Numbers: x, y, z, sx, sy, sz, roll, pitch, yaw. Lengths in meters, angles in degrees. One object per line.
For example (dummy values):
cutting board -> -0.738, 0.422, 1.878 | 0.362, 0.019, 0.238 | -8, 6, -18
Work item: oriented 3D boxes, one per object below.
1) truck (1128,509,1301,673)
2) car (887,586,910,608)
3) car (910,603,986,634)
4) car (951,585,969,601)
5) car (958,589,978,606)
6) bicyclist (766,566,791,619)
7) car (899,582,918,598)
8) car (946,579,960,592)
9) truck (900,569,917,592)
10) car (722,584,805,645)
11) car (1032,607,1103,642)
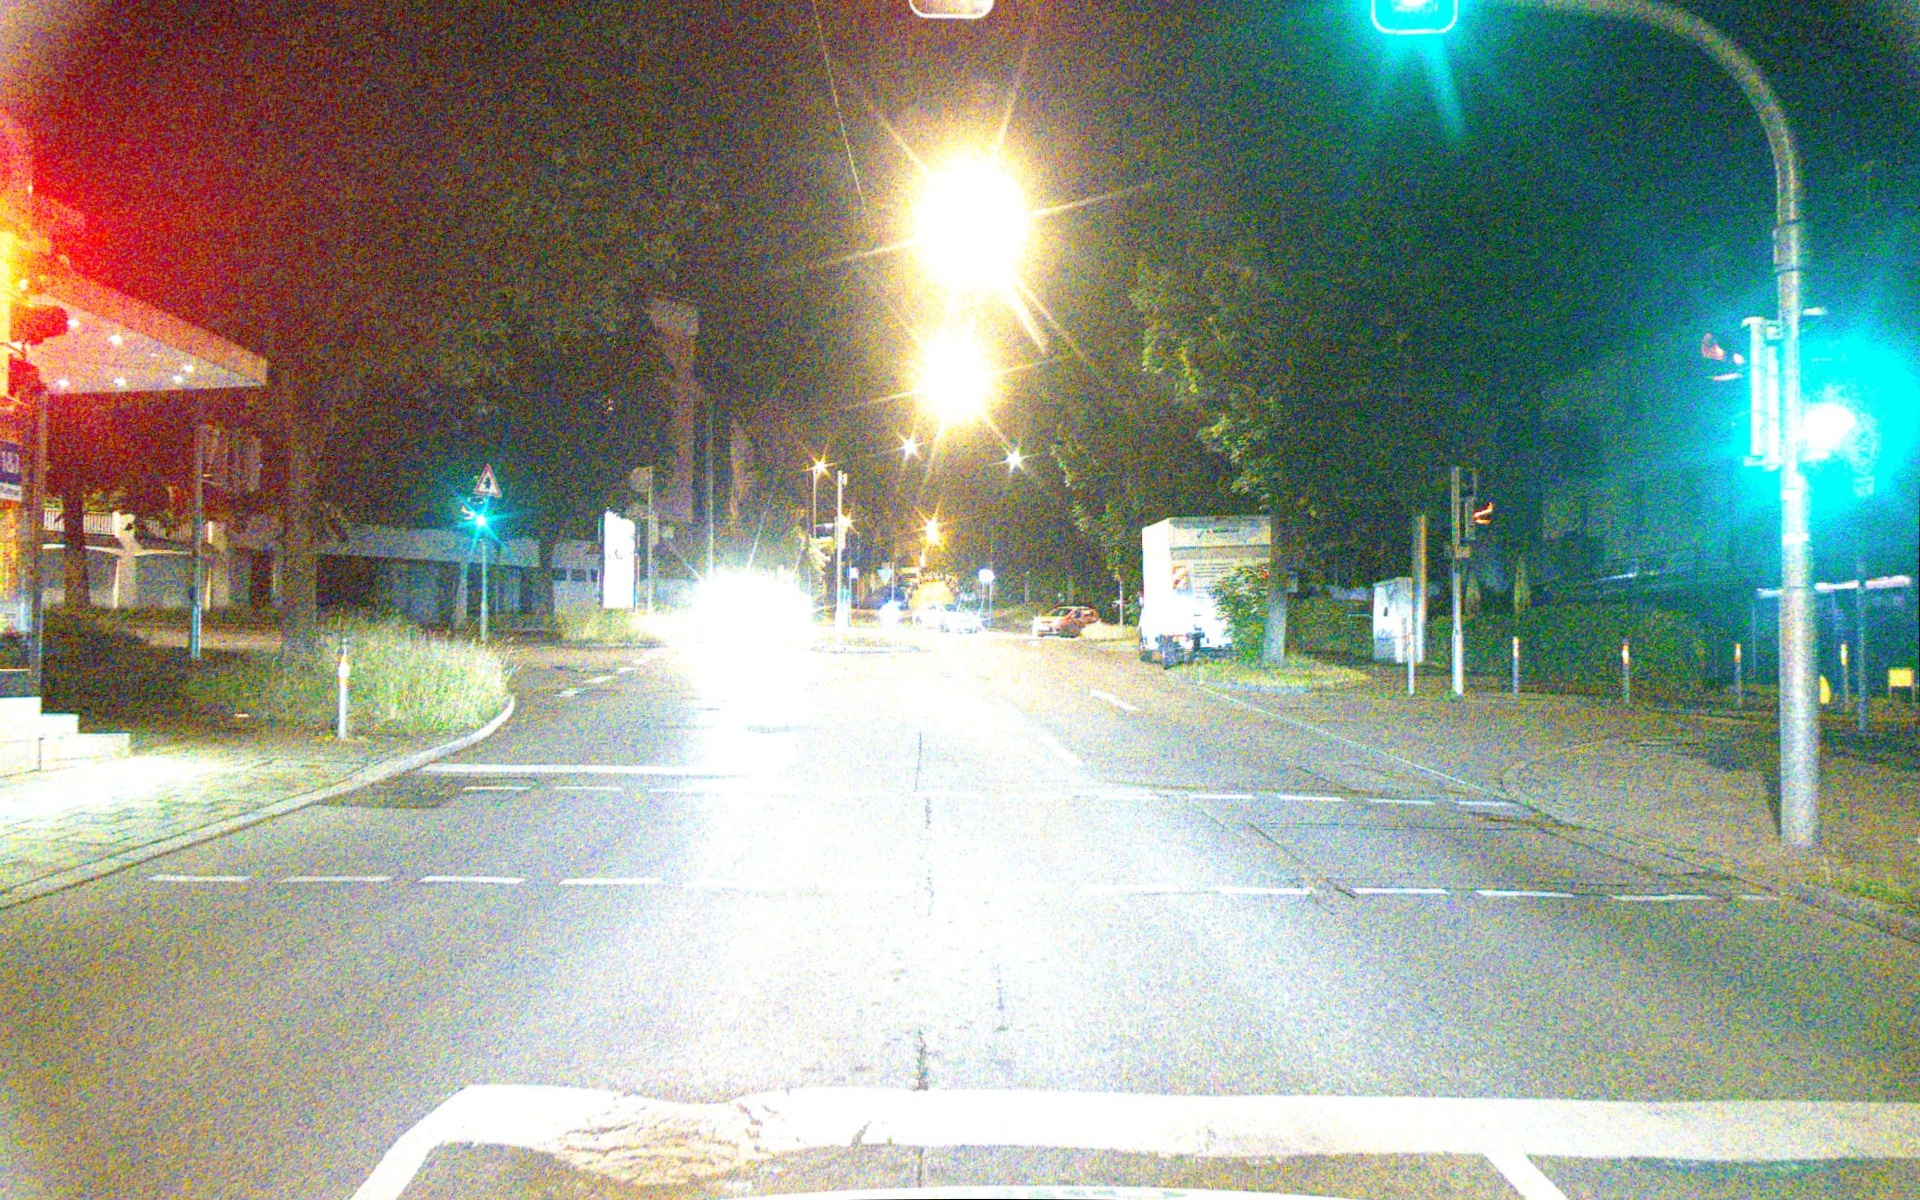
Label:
truck -> 5.345, -0.193, 35.749 | 2.693, 3.165, 6.258 | 1, 0, 0
car -> -5.050, -0.237, 135.534 | 1.778, 1.713, 3.999 | 1, 0, -1
car -> -0.625, 0.904, 82.356 | 1.895, 1.413, 4.539 | 1, 0, -29
car -> -0.020, -0.697, 160.444 | 1.601, 1.477, 3.484 | 1, 0, -1
car -> 0.674, -0.223, 144.535 | 1.601, 1.477, 3.484 | 1, 0, -1
bicyclist -> -5.872, -0.238, 53.540 | 0.676, 1.666, 0.896 | 1, 0, -1
car -> -5.036, -1.014, 161.660 | 1.779, 1.517, 3.998 | 1, 0, -3
car -> -0.829, -1.722, 192.645 | 1.601, 1.477, 3.484 | 1, 0, -1
truck -> -6.633, -2.457, 210.663 | 2.045, 2.897, 5.828 | 1, 0, -2
car -> -5.317, 0.377, 45.102 | 1.819, 1.561, 4.027 | 1, 0, -1
car -> 4.977, 1.101, 76.292 | 1.557, 1.528, 3.378 | 1, 0, 40
